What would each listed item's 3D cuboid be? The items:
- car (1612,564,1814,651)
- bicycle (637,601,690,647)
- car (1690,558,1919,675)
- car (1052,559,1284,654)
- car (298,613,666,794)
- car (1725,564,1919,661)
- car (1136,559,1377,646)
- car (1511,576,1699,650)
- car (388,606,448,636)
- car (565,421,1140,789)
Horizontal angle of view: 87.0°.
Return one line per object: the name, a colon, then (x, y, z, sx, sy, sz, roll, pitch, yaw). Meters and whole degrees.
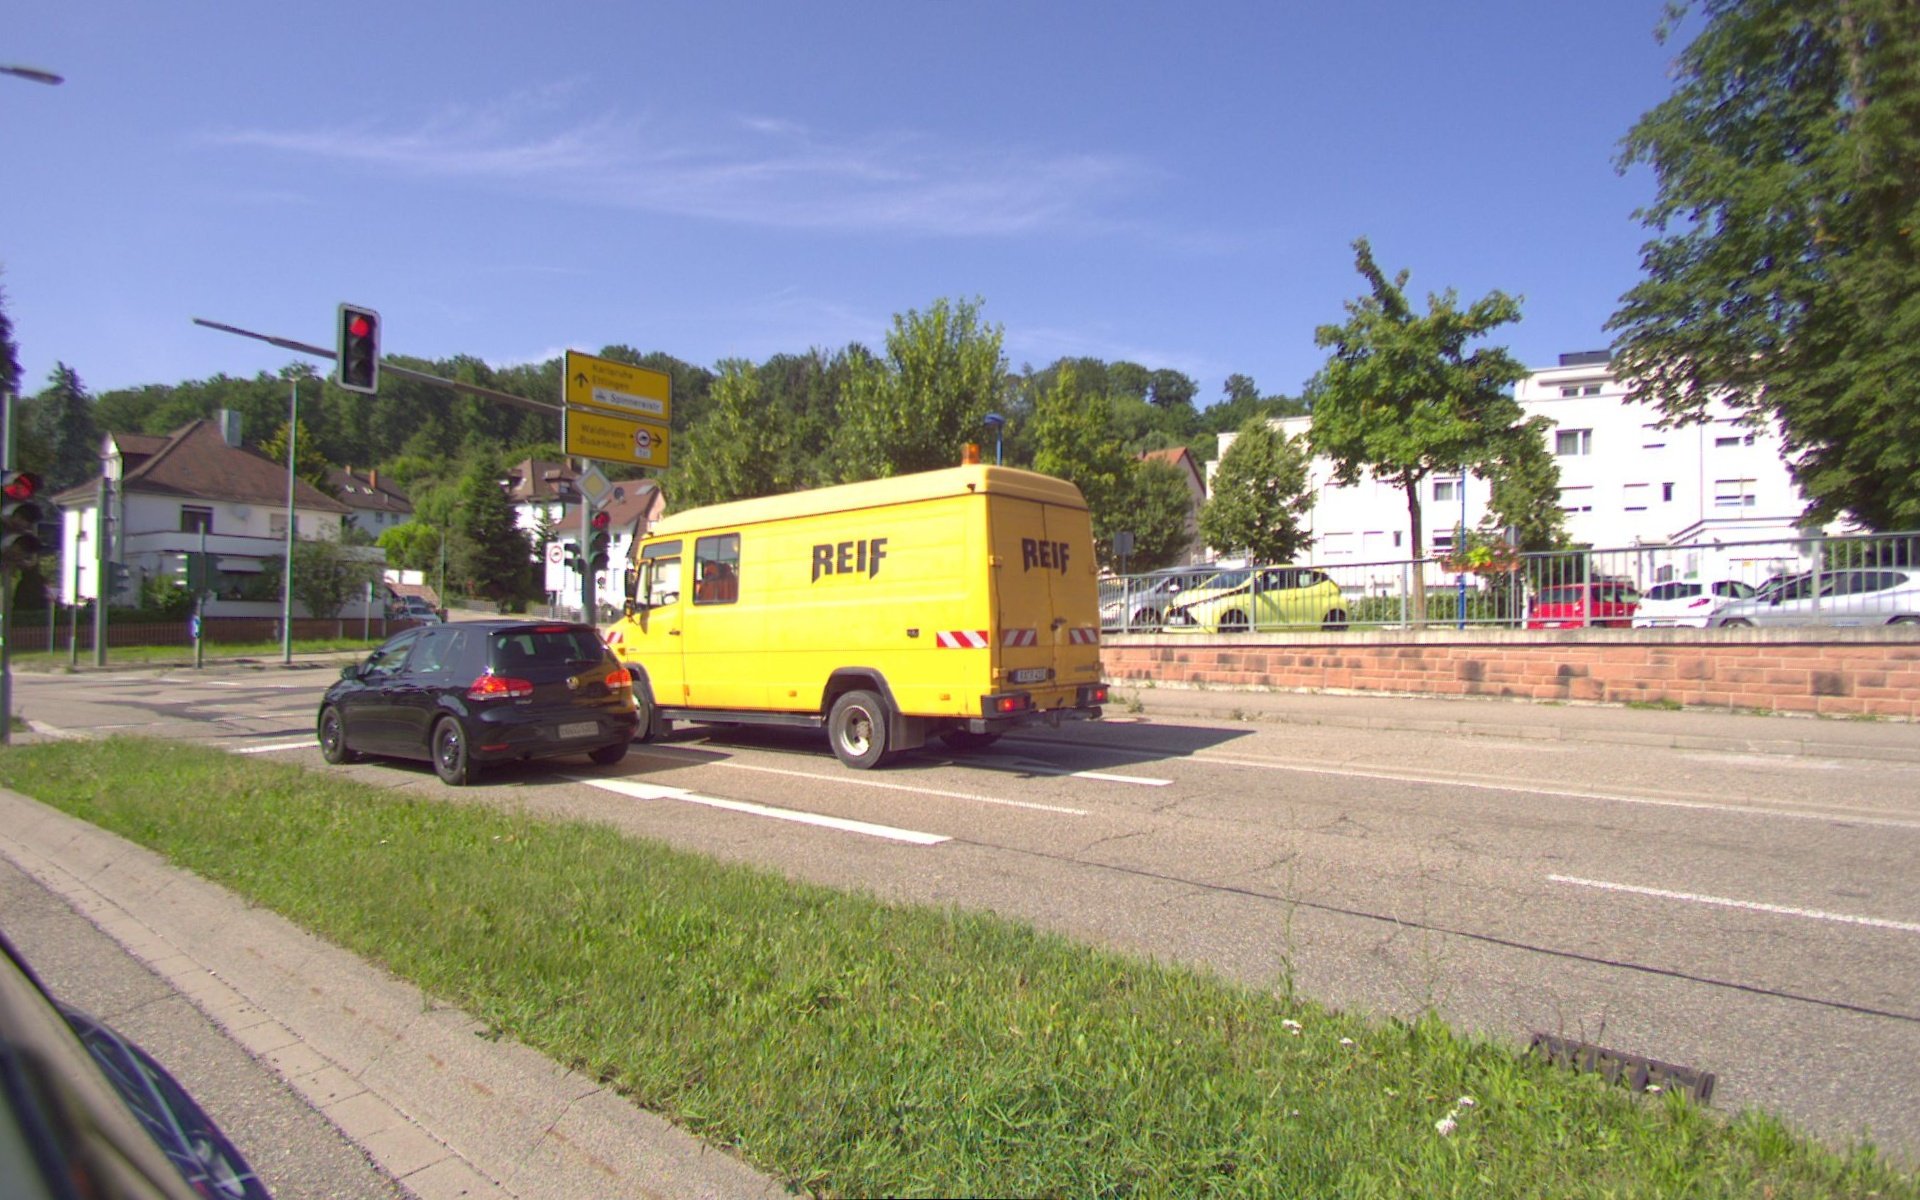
car: (17.022, 0.154, 22.902, 3.931, 1.713, 1.920, -3, -1, -24)
bicycle: (-9.065, 0.751, 30.927, 1.756, 1.264, 0.612, -5, 1, 42)
car: (15.104, 0.274, 17.156, 1.888, 1.803, 4.013, 0, -1, -21)
car: (4.401, 0.101, 21.490, 4.339, 1.709, 2.064, -3, 1, -21)
car: (-4.912, 0.897, 10.191, 4.038, 1.474, 1.729, -2, -2, 38)
car: (17.579, 0.208, 19.997, 3.931, 1.684, 2.006, -3, 0, -19)
car: (5.555, 0.044, 19.042, 3.931, 1.392, 1.920, -3, 0, -21)
car: (15.994, 0.309, 25.136, 3.931, 1.571, 1.920, -3, 0, -21)
car: (-32.785, 1.275, 61.146, 3.999, 1.649, 1.914, -3, -1, 42)
car: (-1.483, 0.077, 11.304, 6.456, 3.033, 2.444, -1, 0, 38)
